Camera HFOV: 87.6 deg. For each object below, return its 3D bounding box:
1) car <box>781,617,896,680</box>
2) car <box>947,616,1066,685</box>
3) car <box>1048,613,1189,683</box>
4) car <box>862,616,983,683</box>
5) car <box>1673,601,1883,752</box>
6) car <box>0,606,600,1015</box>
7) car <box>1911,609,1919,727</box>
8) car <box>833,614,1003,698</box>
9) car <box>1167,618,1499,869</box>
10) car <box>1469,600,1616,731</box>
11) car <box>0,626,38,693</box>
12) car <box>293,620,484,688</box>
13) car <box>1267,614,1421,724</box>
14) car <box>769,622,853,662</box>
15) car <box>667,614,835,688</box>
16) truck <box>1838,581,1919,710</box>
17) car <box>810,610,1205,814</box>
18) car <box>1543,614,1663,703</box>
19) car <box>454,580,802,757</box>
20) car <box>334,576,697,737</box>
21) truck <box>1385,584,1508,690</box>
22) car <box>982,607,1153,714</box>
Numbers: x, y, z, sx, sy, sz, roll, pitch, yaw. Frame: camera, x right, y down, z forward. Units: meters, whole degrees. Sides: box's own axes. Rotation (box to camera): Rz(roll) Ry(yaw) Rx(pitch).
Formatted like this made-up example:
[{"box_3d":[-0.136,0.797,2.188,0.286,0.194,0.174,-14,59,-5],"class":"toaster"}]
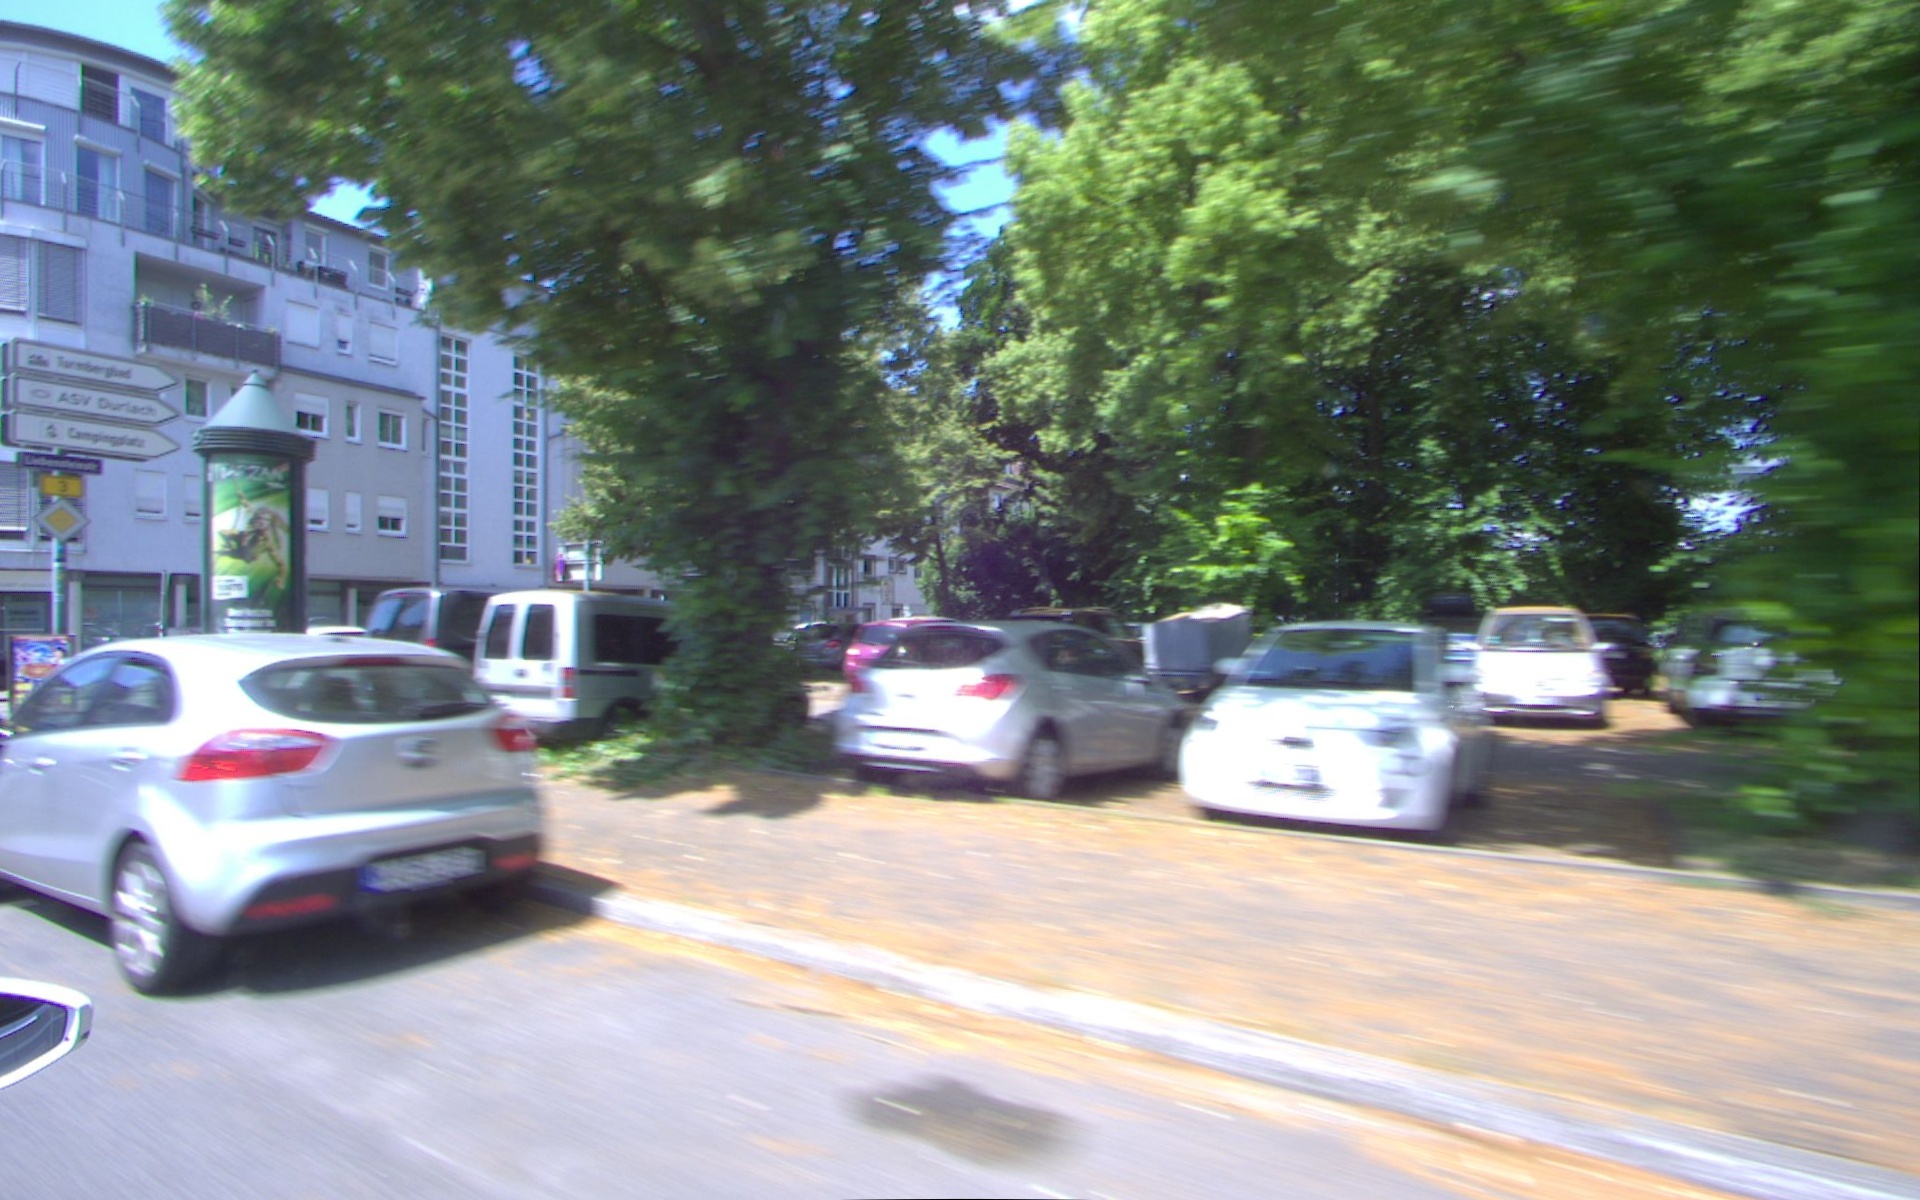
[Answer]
[{"box_3d":[-3.239,1.265,27.110,1.568,1.574,3.058,-1,-1,30],"class":"car"},{"box_3d":[1.212,1.197,24.880,1.568,1.574,3.375,-1,-1,30],"class":"car"},{"box_3d":[3.793,1.130,23.528,1.668,1.486,3.891,0,-3,36],"class":"car"},{"box_3d":[-0.915,1.223,25.883,1.568,1.574,3.375,-1,-1,30],"class":"car"},{"box_3d":[10.634,0.883,13.298,1.780,1.683,3.977,-1,-1,34],"class":"car"},{"box_3d":[-3.950,0.837,5.496,3.836,1.504,1.764,-1,-2,33],"class":"car"},{"box_3d":[12.919,0.899,11.832,1.780,1.607,3.977,-1,-1,34],"class":"car"},{"box_3d":[-0.772,1.089,20.954,1.656,1.548,3.981,-1,-1,30],"class":"car"},{"box_3d":[3.155,0.896,7.925,1.645,1.446,3.979,0,-2,33],"class":"car"},{"box_3d":[8.629,0.862,14.879,1.656,1.662,3.981,-1,-1,30],"class":"car"},{"box_3d":[-21.528,1.187,19.726,1.970,1.382,4.576,0,-2,30],"class":"car"},{"box_3d":[-14.335,1.339,25.350,1.547,1.574,3.984,-1,-2,29],"class":"car"},{"box_3d":[6.186,0.981,15.870,1.656,1.502,3.981,-1,-1,30],"class":"car"},{"box_3d":[-6.895,1.938,46.692,1.602,1.757,4.369,-1,-2,28],"class":"car"},{"box_3d":[-4.832,1.125,23.640,1.656,1.574,3.981,-1,-1,30],"class":"car"},{"box_3d":[15.303,0.667,15.675,1.853,1.838,4.110,0,-1,34],"class":"truck"},{"box_3d":[0.656,0.867,9.135,1.784,1.416,3.978,-1,-2,35],"class":"car"},{"box_3d":[11.901,1.013,18.717,1.712,1.478,3.793,0,-1,30],"class":"car"},{"box_3d":[-3.632,0.697,11.616,1.638,1.689,3.761,0,-1,28],"class":"car"},{"box_3d":[-5.679,0.714,13.282,1.987,1.773,3.981,-1,-2,32],"class":"car"},{"box_3d":[9.812,0.707,20.051,1.714,1.906,3.788,0,-1,34],"class":"truck"},{"box_3d":[2.072,1.000,18.192,1.676,1.701,3.983,-1,-1,29],"class":"car"}]
